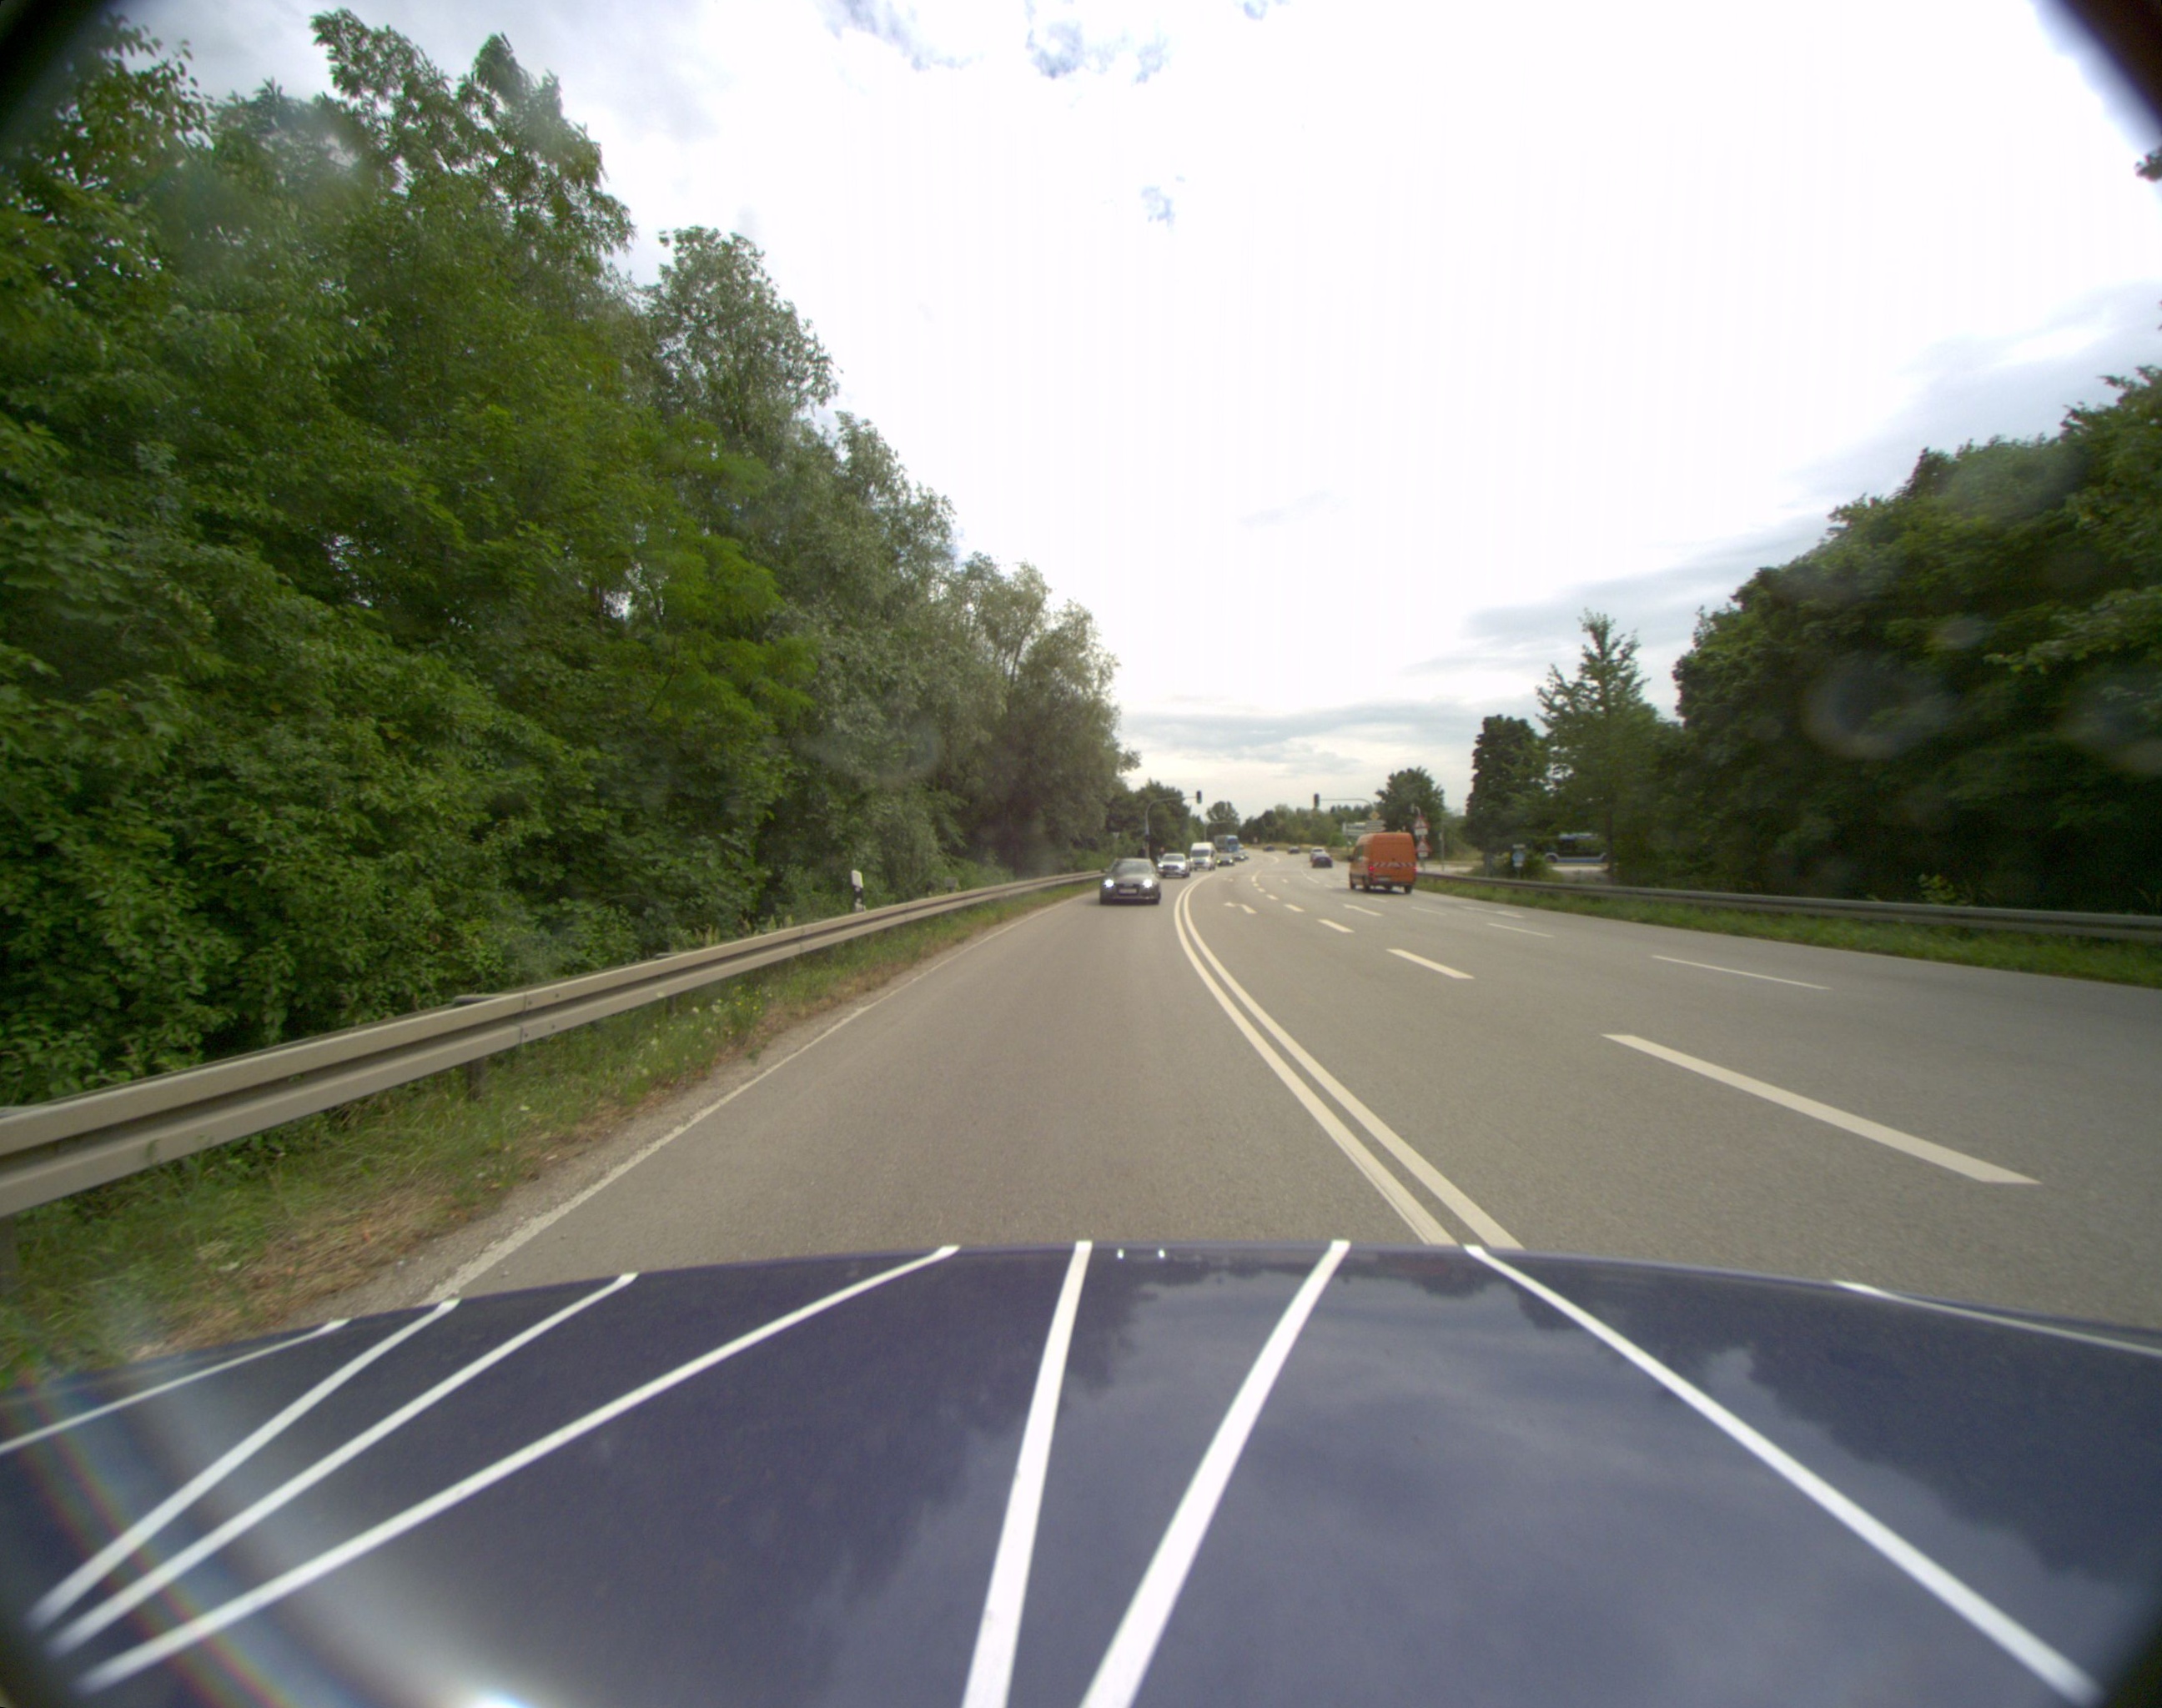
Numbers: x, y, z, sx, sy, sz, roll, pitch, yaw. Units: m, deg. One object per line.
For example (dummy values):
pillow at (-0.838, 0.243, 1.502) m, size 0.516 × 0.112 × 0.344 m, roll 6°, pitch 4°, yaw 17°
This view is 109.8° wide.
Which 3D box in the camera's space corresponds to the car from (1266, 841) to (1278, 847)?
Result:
car at (43.536, -2.315, 173.386) m, size 1.744 × 1.377 × 4.000 m, roll -2°, pitch 1°, yaw 1°

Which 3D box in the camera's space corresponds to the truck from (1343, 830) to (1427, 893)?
truck at (13.706, 0.316, 34.651) m, size 2.320 × 2.586 × 6.028 m, roll 1°, pitch 0°, yaw 10°

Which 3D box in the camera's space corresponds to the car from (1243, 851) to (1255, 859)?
car at (28.068, 0.168, 127.146) m, size 1.743 × 1.317 × 4.003 m, roll 2°, pitch 0°, yaw 9°

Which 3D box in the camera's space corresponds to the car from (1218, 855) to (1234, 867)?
car at (17.307, 0.840, 90.829) m, size 1.743 × 1.317 × 4.002 m, roll 2°, pitch 0°, yaw 8°

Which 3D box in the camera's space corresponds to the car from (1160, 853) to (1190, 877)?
car at (6.342, 0.684, 51.055) m, size 1.825 × 1.489 × 4.227 m, roll 1°, pitch 0°, yaw 9°

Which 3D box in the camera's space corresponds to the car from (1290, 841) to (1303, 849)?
car at (41.528, -1.769, 146.549) m, size 1.743 × 1.477 × 4.202 m, roll -1°, pitch 1°, yaw 7°

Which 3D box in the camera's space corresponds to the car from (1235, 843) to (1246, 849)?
car at (42.055, -2.179, 200.552) m, size 1.744 × 1.477 × 3.998 m, roll -3°, pitch 1°, yaw -3°

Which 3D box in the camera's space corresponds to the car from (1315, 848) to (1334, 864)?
car at (23.950, 0.224, 74.760) m, size 1.719 × 1.489 × 4.554 m, roll 0°, pitch 0°, yaw 17°

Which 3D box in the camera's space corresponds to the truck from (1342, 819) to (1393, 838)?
truck at (74.184, -6.659, 197.373) m, size 3.367 × 4.303 × 14.174 m, roll -1°, pitch 4°, yaw -23°

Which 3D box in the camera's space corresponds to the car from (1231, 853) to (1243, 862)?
car at (23.534, 0.482, 114.635) m, size 1.742 × 1.317 × 4.004 m, roll 2°, pitch 0°, yaw 13°

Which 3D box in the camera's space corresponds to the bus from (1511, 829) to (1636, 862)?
bus at (48.697, -0.827, 75.346) m, size 10.061 × 3.029 × 3.123 m, roll -1°, pitch 1°, yaw 5°

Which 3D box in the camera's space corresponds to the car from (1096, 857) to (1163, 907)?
car at (1.717, 0.864, 25.466) m, size 1.964 × 1.446 × 4.799 m, roll 0°, pitch 1°, yaw 7°

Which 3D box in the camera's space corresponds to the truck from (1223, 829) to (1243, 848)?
truck at (36.515, -3.648, 182.988) m, size 3.026 × 4.325 × 9.570 m, roll 0°, pitch 1°, yaw 1°

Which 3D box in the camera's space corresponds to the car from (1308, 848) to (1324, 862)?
car at (29.678, 0.118, 95.791) m, size 1.860 × 1.633 × 4.743 m, roll 1°, pitch 0°, yaw 17°

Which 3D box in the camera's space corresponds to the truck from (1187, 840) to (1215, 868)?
truck at (11.737, -0.024, 73.977) m, size 2.376 × 2.578 × 6.004 m, roll 0°, pitch 1°, yaw 12°
